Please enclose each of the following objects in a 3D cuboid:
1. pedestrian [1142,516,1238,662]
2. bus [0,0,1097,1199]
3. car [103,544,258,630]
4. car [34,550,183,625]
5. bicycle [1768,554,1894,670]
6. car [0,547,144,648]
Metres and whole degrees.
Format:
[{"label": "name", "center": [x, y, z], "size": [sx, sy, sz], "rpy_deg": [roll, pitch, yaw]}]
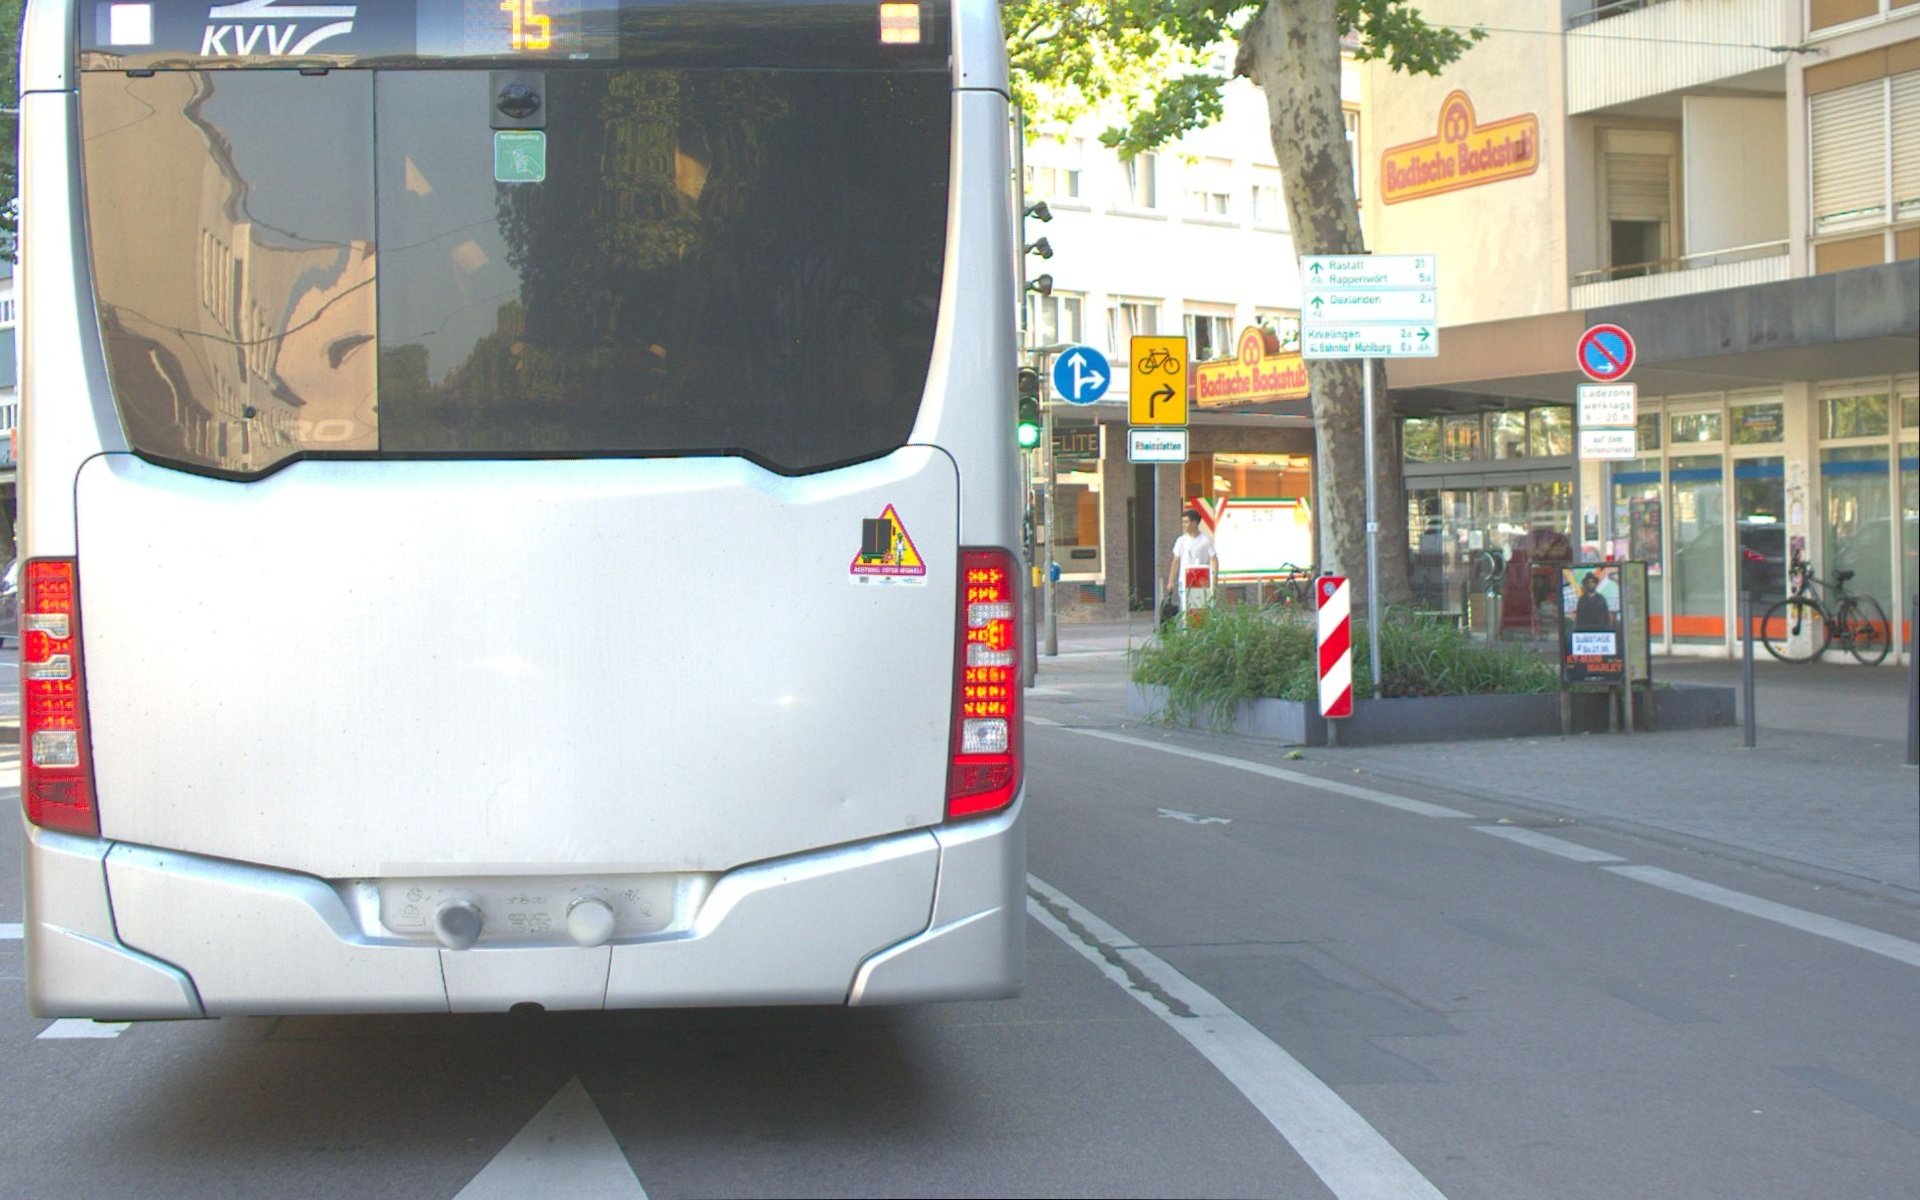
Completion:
[{"label": "pedestrian", "center": [2.788, -0.143, 41.762], "size": [0.835, 1.706, 0.793], "rpy_deg": [-3, 2, -23]}, {"label": "bus", "center": [-1.488, -0.182, 13.330], "size": [2.657, 3.088, 10.218], "rpy_deg": [-1, 1, -5]}, {"label": "car", "center": [-15.114, -0.266, 66.558], "size": [1.662, 1.511, 3.412], "rpy_deg": [-5, 4, -35]}, {"label": "car", "center": [-17.402, -0.281, 70.160], "size": [1.663, 1.390, 3.412], "rpy_deg": [-5, 4, -37]}, {"label": "bicycle", "center": [8.557, 0.106, 33.826], "size": [0.437, 1.089, 1.462], "rpy_deg": [-3, 2, -18]}, {"label": "car", "center": [-13.723, -0.063, 52.386], "size": [1.755, 1.459, 4.001], "rpy_deg": [-1, 1, -24]}]
